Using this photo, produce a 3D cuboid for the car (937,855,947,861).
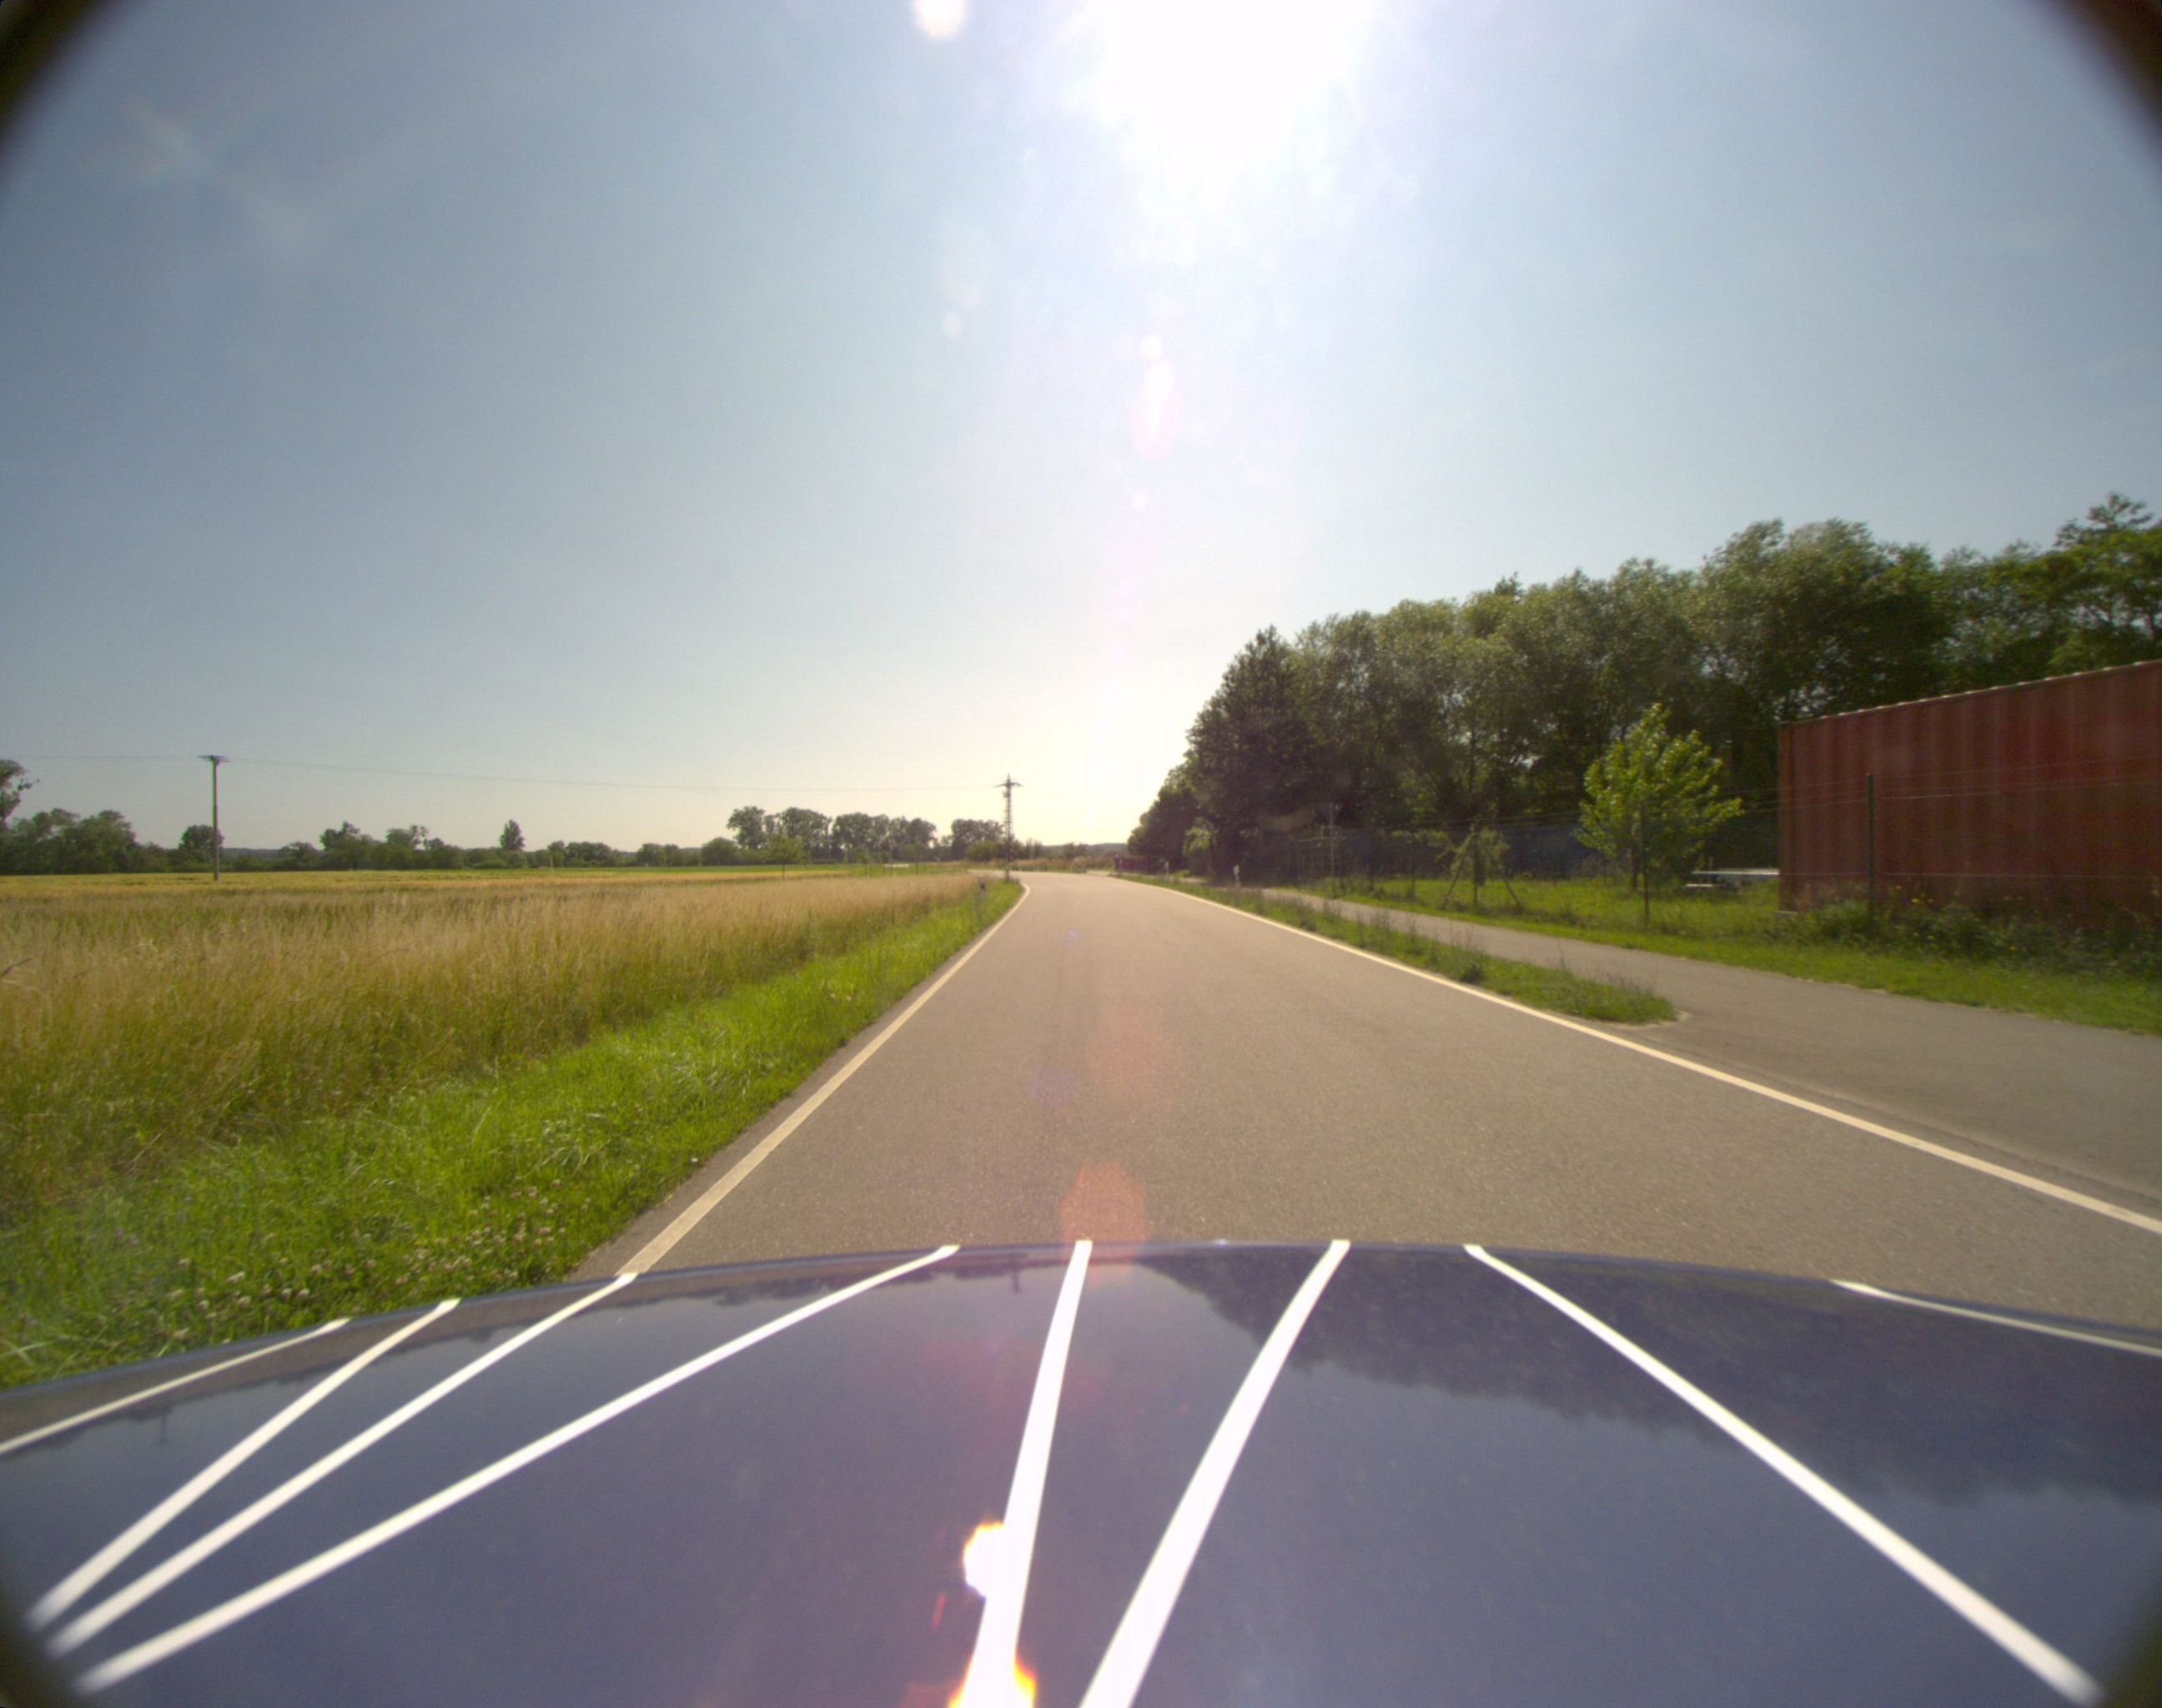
[{"bbox_3d":[-40.837,1.127,223.642,1.870,1.742,4.298,0,0,4],"label":"car"}]
